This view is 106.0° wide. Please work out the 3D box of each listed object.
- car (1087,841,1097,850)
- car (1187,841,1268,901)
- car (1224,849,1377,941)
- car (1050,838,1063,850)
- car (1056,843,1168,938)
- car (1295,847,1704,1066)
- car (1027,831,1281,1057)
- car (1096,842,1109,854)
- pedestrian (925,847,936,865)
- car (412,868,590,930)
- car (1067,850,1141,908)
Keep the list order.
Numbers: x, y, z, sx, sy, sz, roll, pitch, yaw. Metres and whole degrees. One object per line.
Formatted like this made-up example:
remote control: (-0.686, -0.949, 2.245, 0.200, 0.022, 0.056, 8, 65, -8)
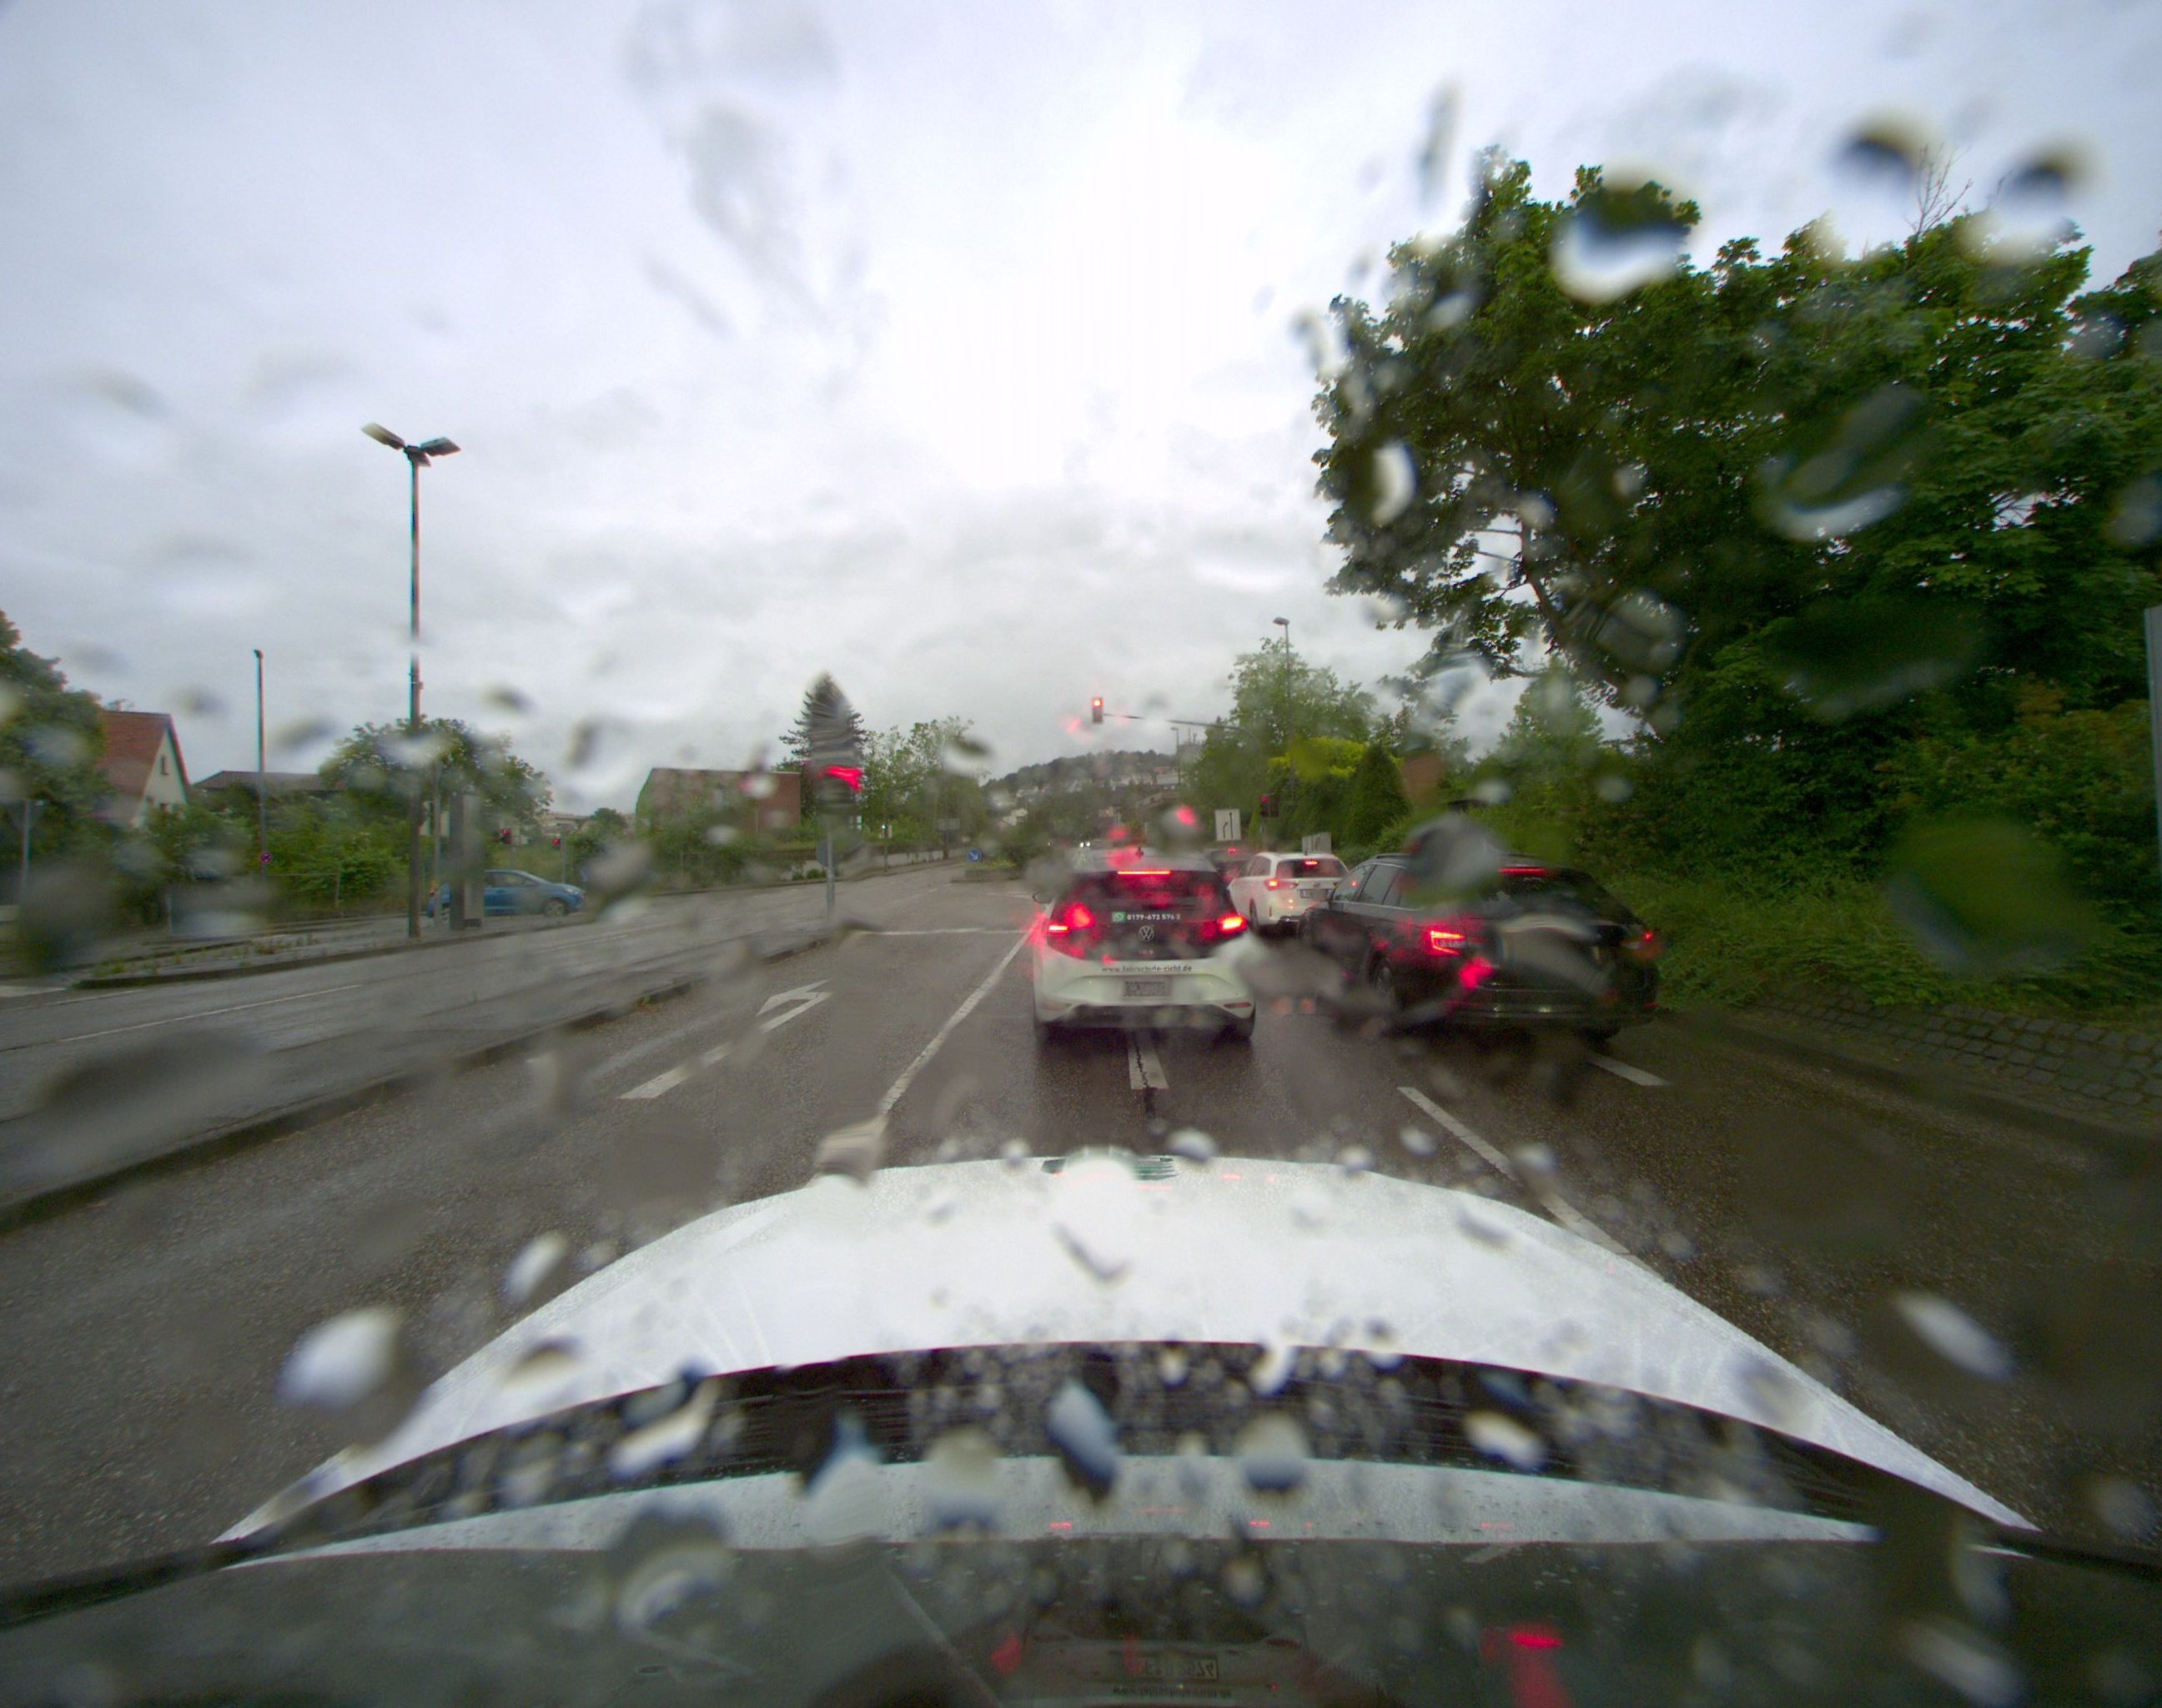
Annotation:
car: (2.010, -1.510, 147.371, 1.769, 1.581, 4.002, -3, 0, 2)
car: (4.131, 0.445, 23.547, 1.769, 1.581, 4.002, 0, 0, 2)
car: (3.877, 0.649, 15.121, 1.831, 1.466, 4.118, 0, 0, 1)
car: (-4.254, -1.738, 140.898, 1.986, 2.014, 4.002, -1, -1, 2)
car: (0.560, 0.580, 15.427, 1.831, 1.555, 4.176, 0, 0, 1)
car: (3.384, 0.665, 7.664, 1.830, 1.466, 4.353, 0, 0, 3)
car: (0.580, 0.630, 8.194, 1.831, 1.629, 4.617, 0, 0, 1)
car: (3.148, -0.812, 117.223, 1.769, 1.581, 4.002, -3, 0, 2)
pedestrian: (-13.133, 0.188, 71.068, 0.757, 1.568, 0.825, -4, 0, 1)
car: (-16.253, 1.211, 23.062, 3.755, 1.418, 1.752, -3, 1, -25)
car: (0.605, 0.604, 21.882, 1.831, 1.400, 3.832, 0, 0, 1)
